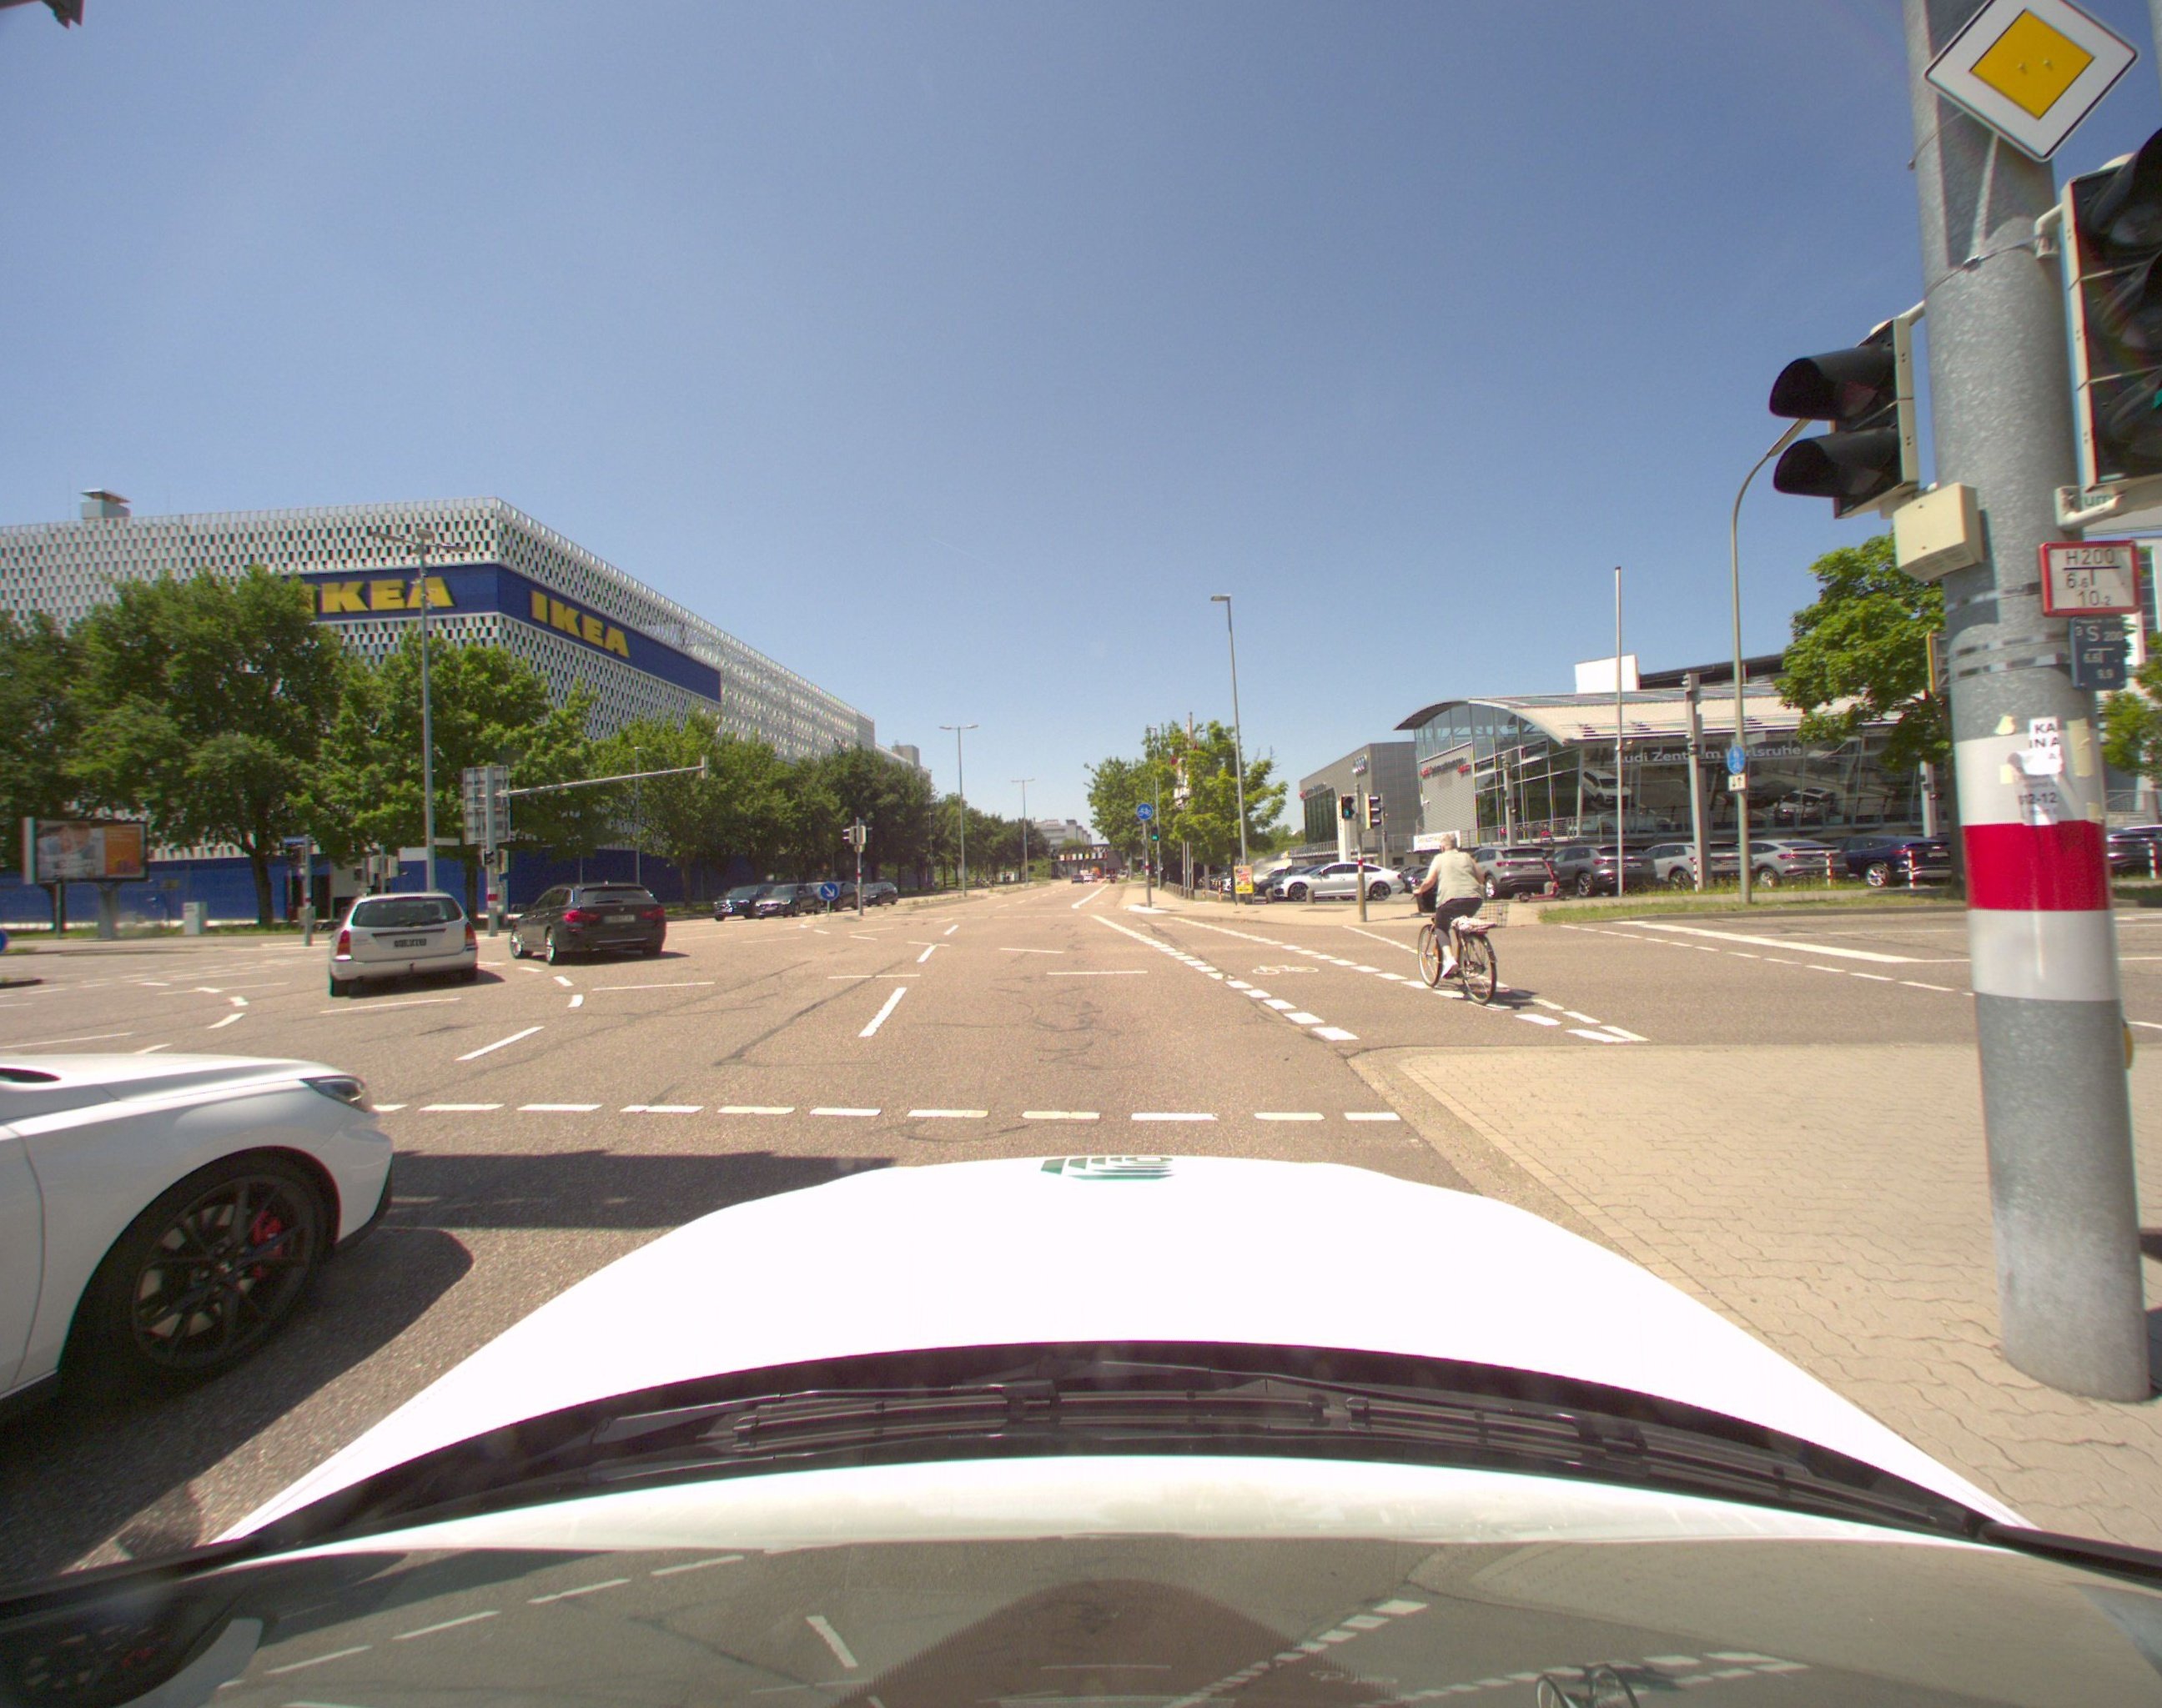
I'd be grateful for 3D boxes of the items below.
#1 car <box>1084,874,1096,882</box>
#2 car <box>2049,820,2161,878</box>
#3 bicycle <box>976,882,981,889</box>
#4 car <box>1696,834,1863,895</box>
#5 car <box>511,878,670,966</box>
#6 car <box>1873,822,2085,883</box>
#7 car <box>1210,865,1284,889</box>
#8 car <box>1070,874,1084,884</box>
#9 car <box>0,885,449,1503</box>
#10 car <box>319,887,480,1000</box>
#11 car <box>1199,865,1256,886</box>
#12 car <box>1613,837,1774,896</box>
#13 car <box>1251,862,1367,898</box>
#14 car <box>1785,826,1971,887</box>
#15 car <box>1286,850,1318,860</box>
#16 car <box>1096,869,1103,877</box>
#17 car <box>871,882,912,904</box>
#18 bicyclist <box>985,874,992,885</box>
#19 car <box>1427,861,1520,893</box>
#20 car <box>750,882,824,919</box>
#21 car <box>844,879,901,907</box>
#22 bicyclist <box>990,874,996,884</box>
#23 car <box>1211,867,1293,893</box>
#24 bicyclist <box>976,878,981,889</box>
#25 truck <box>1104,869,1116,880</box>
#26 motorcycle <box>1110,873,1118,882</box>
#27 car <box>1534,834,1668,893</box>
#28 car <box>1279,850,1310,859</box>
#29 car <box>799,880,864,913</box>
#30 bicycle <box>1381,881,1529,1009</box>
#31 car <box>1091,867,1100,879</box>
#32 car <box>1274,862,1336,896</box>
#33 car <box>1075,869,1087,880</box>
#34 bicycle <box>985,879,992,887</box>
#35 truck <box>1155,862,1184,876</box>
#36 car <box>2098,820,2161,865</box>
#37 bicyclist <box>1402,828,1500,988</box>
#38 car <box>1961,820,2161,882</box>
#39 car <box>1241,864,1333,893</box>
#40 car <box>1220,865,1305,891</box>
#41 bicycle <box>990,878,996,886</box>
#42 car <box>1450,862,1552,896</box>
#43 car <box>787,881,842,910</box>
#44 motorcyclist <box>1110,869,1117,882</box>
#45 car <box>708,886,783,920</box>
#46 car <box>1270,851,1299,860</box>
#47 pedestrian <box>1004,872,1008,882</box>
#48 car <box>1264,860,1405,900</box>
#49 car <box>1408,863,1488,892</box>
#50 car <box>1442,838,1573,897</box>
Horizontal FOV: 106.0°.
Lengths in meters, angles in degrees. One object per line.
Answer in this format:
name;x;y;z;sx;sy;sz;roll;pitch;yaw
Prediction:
car;1.517;4.130;141.106;1.916;1.420;4.002;-2;-1;2
car;31.718;-0.135;23.887;1.839;1.654;3.996;0;-1;-1
bicycle;-15.455;4.740;122.608;0.636;1.134;1.966;-2;-1;-5
car;20.681;0.283;24.336;1.631;1.616;3.816;-2;0;-1
car;-9.884;1.261;16.229;1.813;1.440;4.501;-1;-1;-43
car;26.341;0.011;24.121;1.839;1.654;3.996;0;-1;-1
car;9.774;1.348;48.255;4.084;1.405;1.870;0;-1;3
car;-0.623;3.664;122.110;1.893;1.376;4.233;-3;-1;2
car;-3.510;0.829;1.229;1.780;1.436;4.073;-1;-1;3
car;-10.956;1.317;13.072;1.707;1.422;3.960;-3;-1;-42
car;10.076;1.471;56.281;3.666;1.453;1.835;0;-1;3
car;18.390;0.386;24.708;1.839;1.654;3.996;0;-1;-1
car;8.879;1.004;31.968;4.079;1.390;1.870;0;-1;3
car;23.529;0.106;24.276;1.624;1.654;3.909;-1;-1;-1
car;30.180;0.080;111.224;3.976;1.312;1.796;0;-1;-2
car;4.957;5.111;220.003;1.744;2.014;3.873;-2;-1;2
car;-14.626;2.999;63.048;1.718;1.446;4.457;-4;-2;5
bicyclist;-13.855;3.850;122.027;0.742;1.686;0.952;-2;-2;-1
car;20.141;1.196;41.928;3.969;1.622;1.658;0;-1;3
car;-12.940;2.010;36.037;1.637;1.389;3.719;-4;-2;4
car;-12.421;2.279;48.859;1.718;1.446;4.727;-4;-2;6
bicyclist;-14.222;4.044;131.224;0.631;1.629;1.045;-4;-2;2
car;9.473;1.432;45.340;4.208;1.390;1.870;0;-1;3
bicyclist;-15.466;4.388;122.597;0.636;1.582;0.882;-2;-2;-6
truck;6.542;4.476;181.188;2.448;2.410;7.139;-1;-1;3
motorcycle;4.115;2.908;102.279;0.715;1.105;1.826;-1;-2;-7
car;15.553;0.306;24.634;1.835;1.654;4.005;0;-1;6
car;30.523;0.110;116.585;3.928;1.211;1.716;-1;-1;-2
car;-12.816;2.142;42.062;1.719;1.505;4.247;-4;-2;4
bicycle;3.917;0.897;8.704;0.626;1.133;1.893;-2;0;-2
car;3.630;4.885;205.326;2.065;2.855;6.768;-3;-1;2
car;9.838;1.080;36.074;1.854;1.420;4.668;0;-1;5
car;-0.012;3.832;155.589;1.986;2.014;4.002;-1;-1;2
bicycle;-13.835;4.390;122.138;0.737;1.125;2.434;-2;-1;0
truck;17.969;3.116;166.239;5.582;2.851;2.621;-1;-1;-3
car;40.455;-0.482;29.565;3.946;1.571;1.862;-3;-2;33
bicyclist;3.914;0.553;8.665;0.626;1.606;0.825;-1;-1;-2
car;28.959;-0.040;23.935;1.839;1.654;3.996;0;-1;-1
car;9.988;1.190;39.733;4.079;1.364;1.875;0;-1;3
car;9.468;1.250;42.692;4.082;1.349;1.870;0;-1;3
bicycle;-14.188;4.511;131.228;0.626;1.159;2.118;-4;-1;2
car;20.282;1.206;39.466;3.969;1.598;1.852;0;-1;3
car;-15.636;2.408;47.911;1.719;1.544;3.918;-3;-2;3
motorcyclist;4.111;2.694;102.302;0.719;1.529;0.868;-1;-2;-7
car;-15.803;2.275;38.591;1.654;1.424;4.041;-3;-2;3
car;30.765;0.219;123.374;3.976;1.312;1.796;0;-1;-2
pedestrian;-15.246;4.688;164.954;0.740;1.884;0.578;-2;-2;3
car;9.032;0.915;29.341;4.572;1.390;1.871;0;-1;4
car;20.147;1.299;44.800;3.632;1.581;1.643;0;-1;3
car;12.919;0.465;25.034;1.860;1.558;4.508;-3;-3;4
